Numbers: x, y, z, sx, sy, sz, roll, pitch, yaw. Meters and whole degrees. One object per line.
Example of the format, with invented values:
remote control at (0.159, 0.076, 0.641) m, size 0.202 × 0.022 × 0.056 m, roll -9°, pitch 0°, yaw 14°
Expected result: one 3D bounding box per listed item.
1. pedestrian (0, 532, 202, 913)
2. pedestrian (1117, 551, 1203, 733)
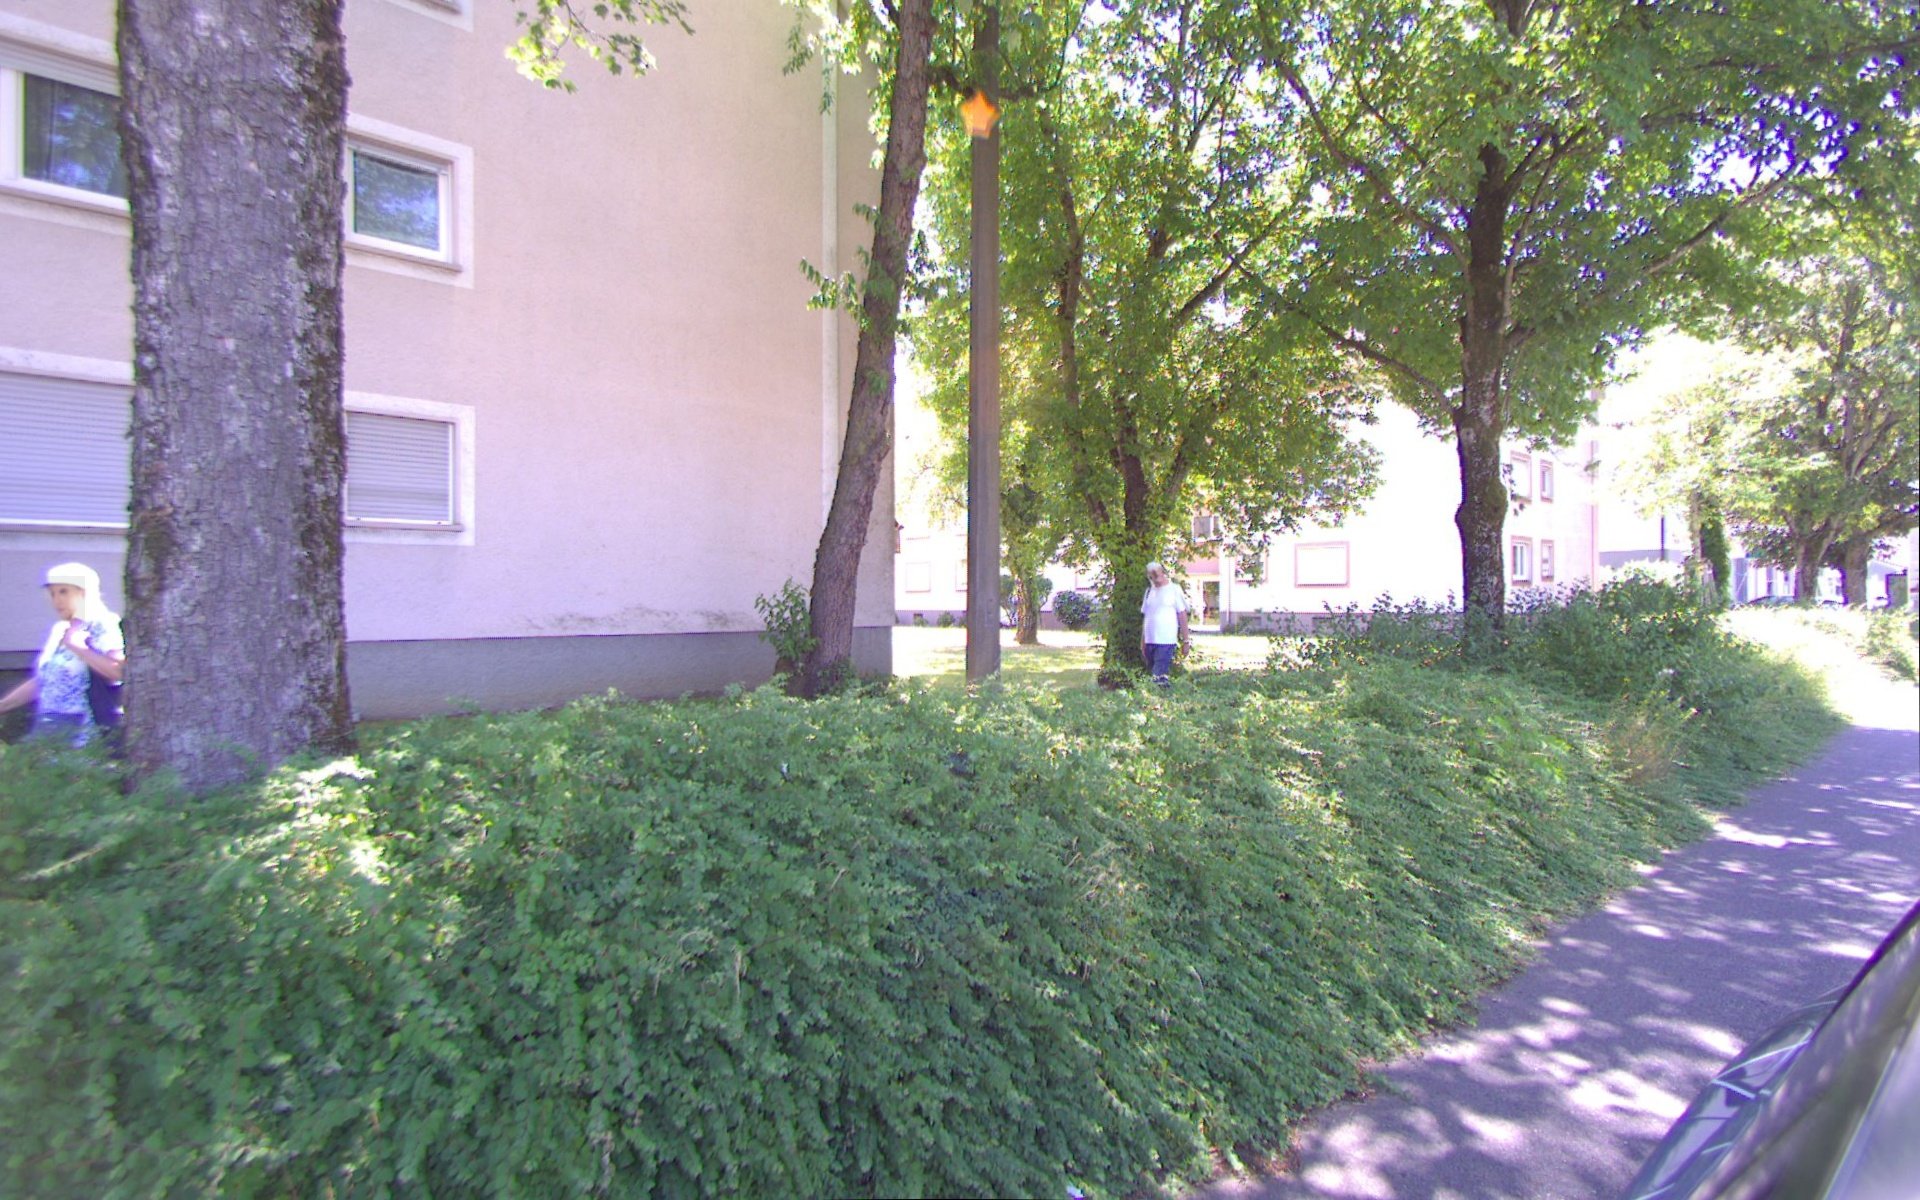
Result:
pedestrian at (-4.238, 0.525, 4.852) m, size 0.717 × 1.654 × 0.839 m, roll 0°, pitch 0°, yaw 41°
pedestrian at (2.203, 0.423, 11.107) m, size 0.668 × 1.897 × 0.894 m, roll 1°, pitch 1°, yaw 27°
